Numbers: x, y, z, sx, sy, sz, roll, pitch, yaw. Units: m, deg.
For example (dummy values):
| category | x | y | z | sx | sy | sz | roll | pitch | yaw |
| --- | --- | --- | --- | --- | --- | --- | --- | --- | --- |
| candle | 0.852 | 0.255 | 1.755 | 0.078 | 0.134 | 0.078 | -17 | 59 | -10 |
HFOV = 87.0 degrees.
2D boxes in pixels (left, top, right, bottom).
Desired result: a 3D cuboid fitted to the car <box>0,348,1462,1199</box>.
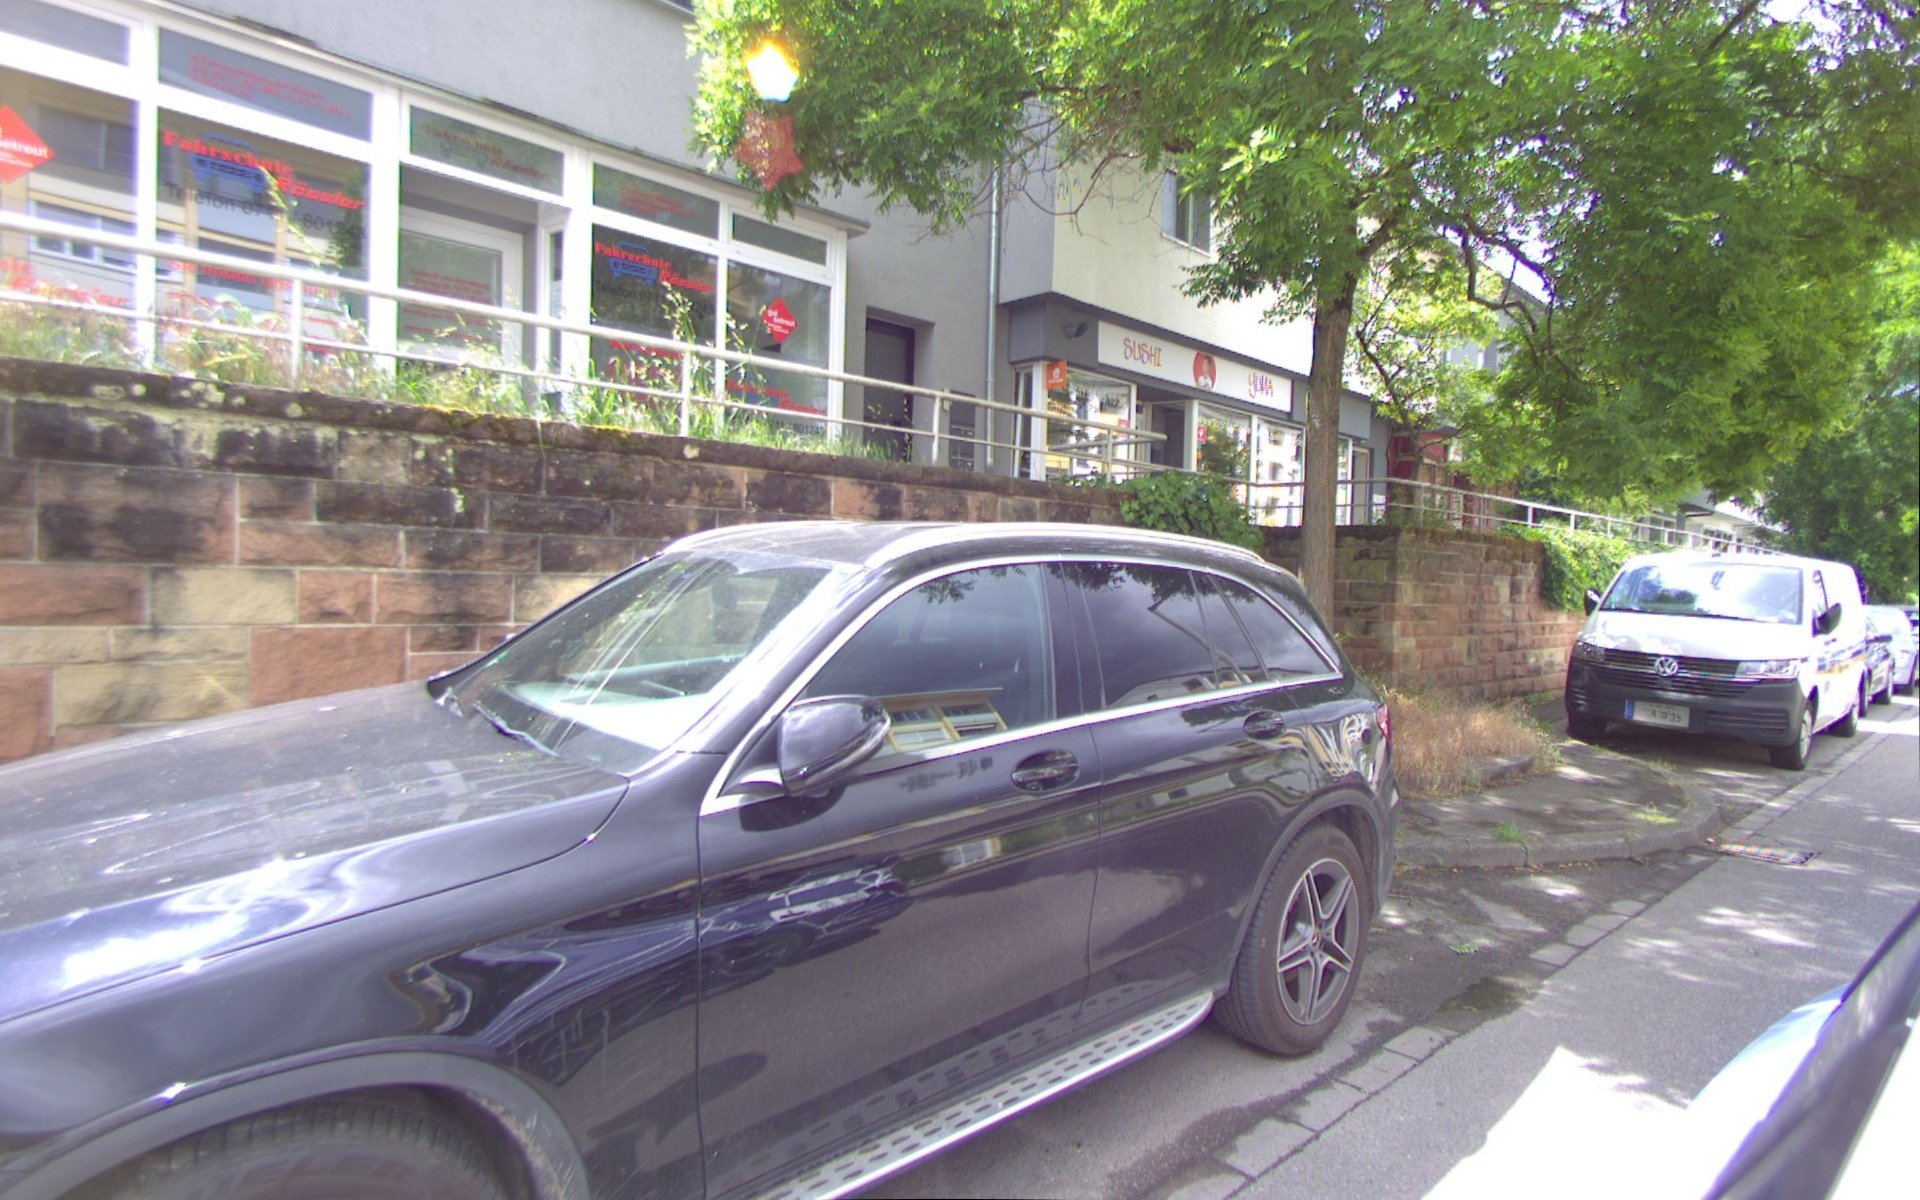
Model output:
| category | x | y | z | sx | sy | sz | roll | pitch | yaw |
| --- | --- | --- | --- | --- | --- | --- | --- | --- | --- |
| car | -0.430 | 0.474 | 2.912 | 4.371 | 1.637 | 1.793 | 0 | 4 | -42 |

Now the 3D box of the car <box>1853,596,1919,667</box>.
| category | x | y | z | sx | sy | sz | roll | pitch | yaw |
| --- | --- | --- | --- | --- | --- | --- | --- | --- | --- |
| car | 21.401 | 0.659 | 22.490 | 4.075 | 1.446 | 1.784 | 0 | 2 | -41 |

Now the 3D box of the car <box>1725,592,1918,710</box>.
| category | x | y | z | sx | sy | sz | roll | pitch | yaw |
| --- | --- | --- | --- | --- | --- | --- | --- | --- | --- |
| car | 12.452 | 0.632 | 14.558 | 3.669 | 1.446 | 1.577 | 0 | 2 | -41 |

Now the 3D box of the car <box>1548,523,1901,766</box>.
| category | x | y | z | sx | sy | sz | roll | pitch | yaw |
| --- | --- | --- | --- | --- | --- | --- | --- | --- | --- |
| car | 8.200 | 0.325 | 10.664 | 4.925 | 1.994 | 1.977 | 0 | 2 | -41 |

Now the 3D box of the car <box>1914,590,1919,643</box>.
| category | x | y | z | sx | sy | sz | roll | pitch | yaw |
| --- | --- | --- | --- | --- | --- | --- | --- | --- | --- |
| car | 32.354 | 0.541 | 32.820 | 4.078 | 1.674 | 1.816 | 0 | 2 | -43 |

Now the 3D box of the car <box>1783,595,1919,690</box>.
| category | x | y | z | sx | sy | sz | roll | pitch | yaw |
| --- | --- | --- | --- | --- | --- | --- | --- | --- | --- |
| car | 16.106 | 0.661 | 17.984 | 4.076 | 1.446 | 1.782 | 0 | 2 | -44 |
